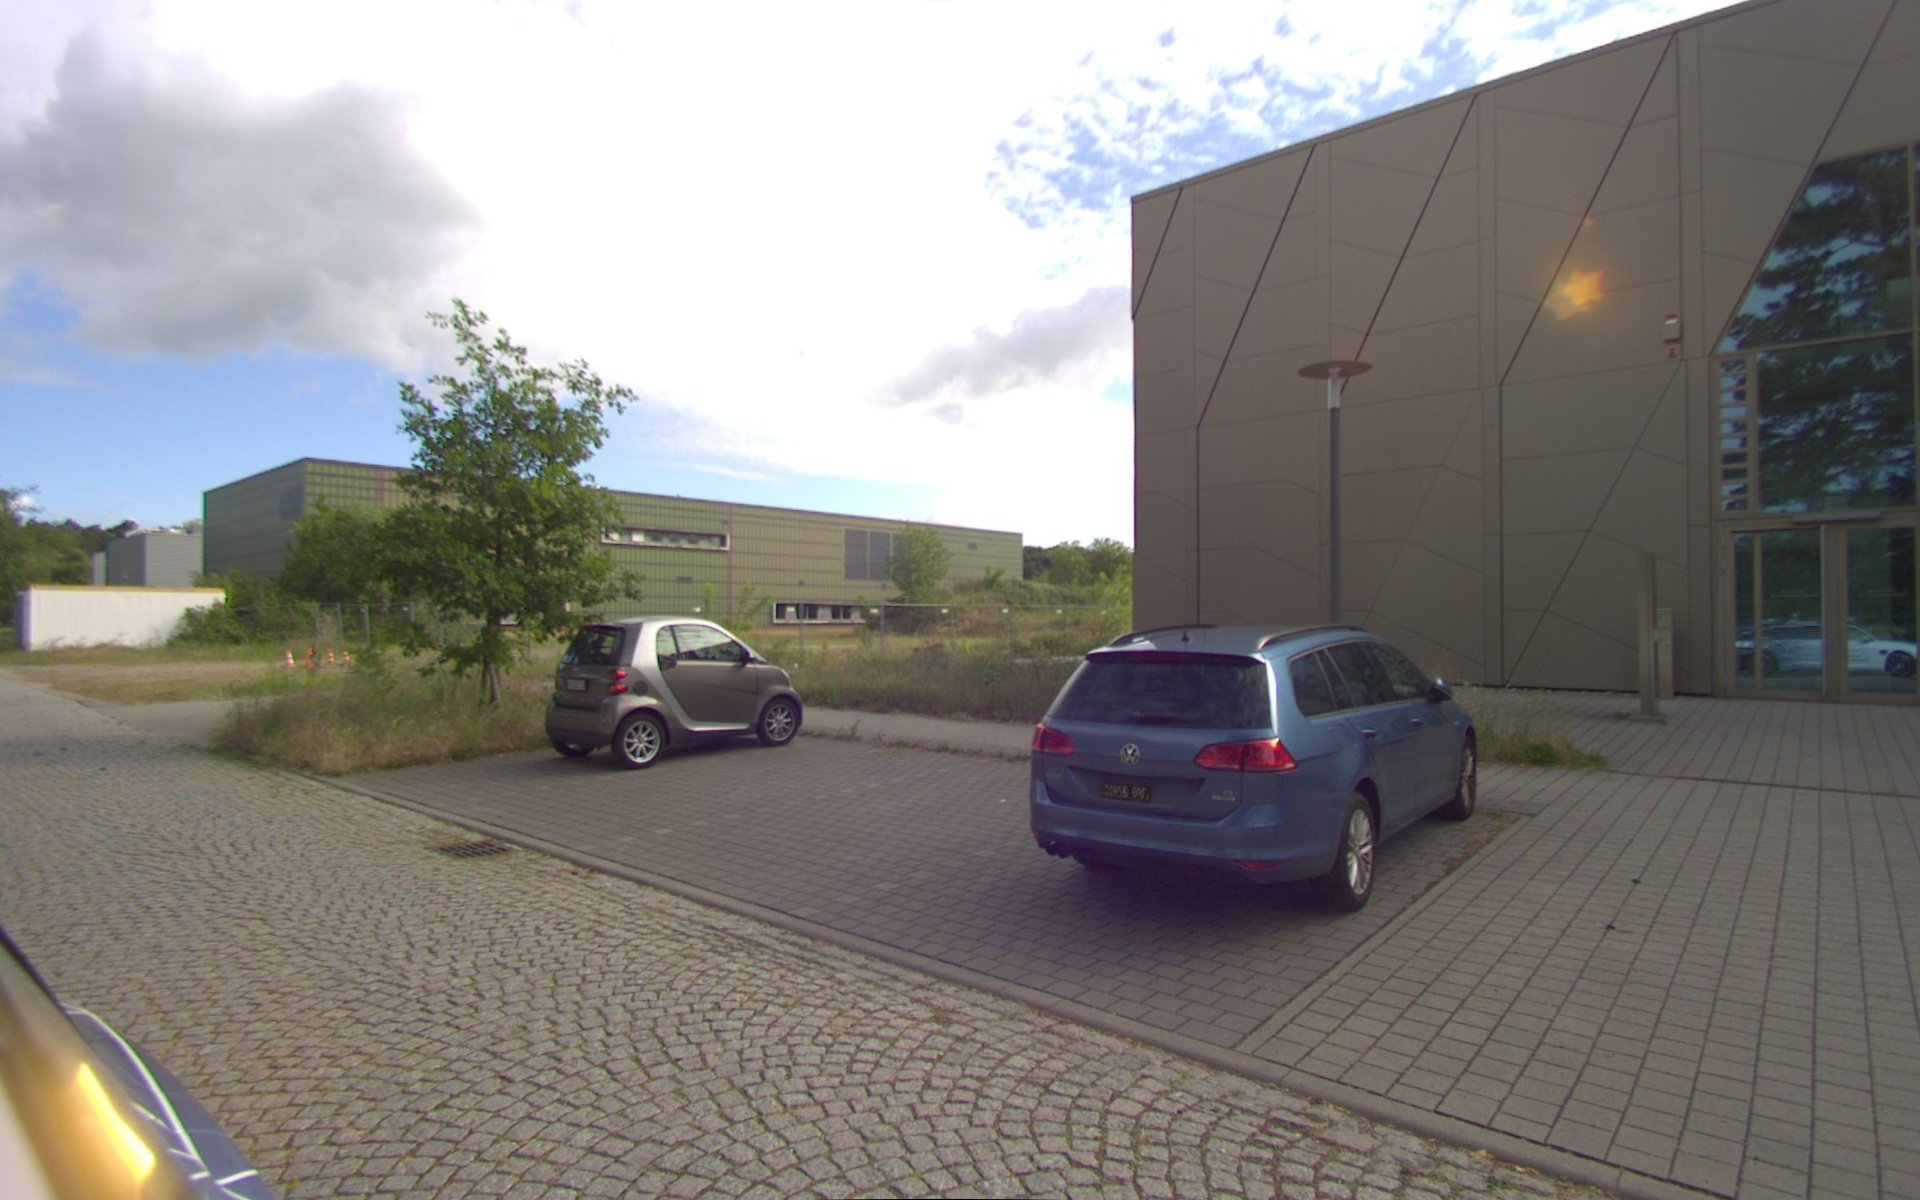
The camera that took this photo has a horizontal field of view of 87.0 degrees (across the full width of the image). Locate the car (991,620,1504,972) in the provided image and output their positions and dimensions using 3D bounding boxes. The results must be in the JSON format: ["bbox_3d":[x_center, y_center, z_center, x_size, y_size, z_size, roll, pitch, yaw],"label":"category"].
[{"bbox_3d":[2.168,0.897,6.628,1.771,1.439,4.264,-2,-1,38],"label":"car"}]

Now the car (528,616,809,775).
[{"bbox_3d":[-3.256,0.977,11.531,1.609,1.523,2.627,-2,-1,40],"label":"car"}]
